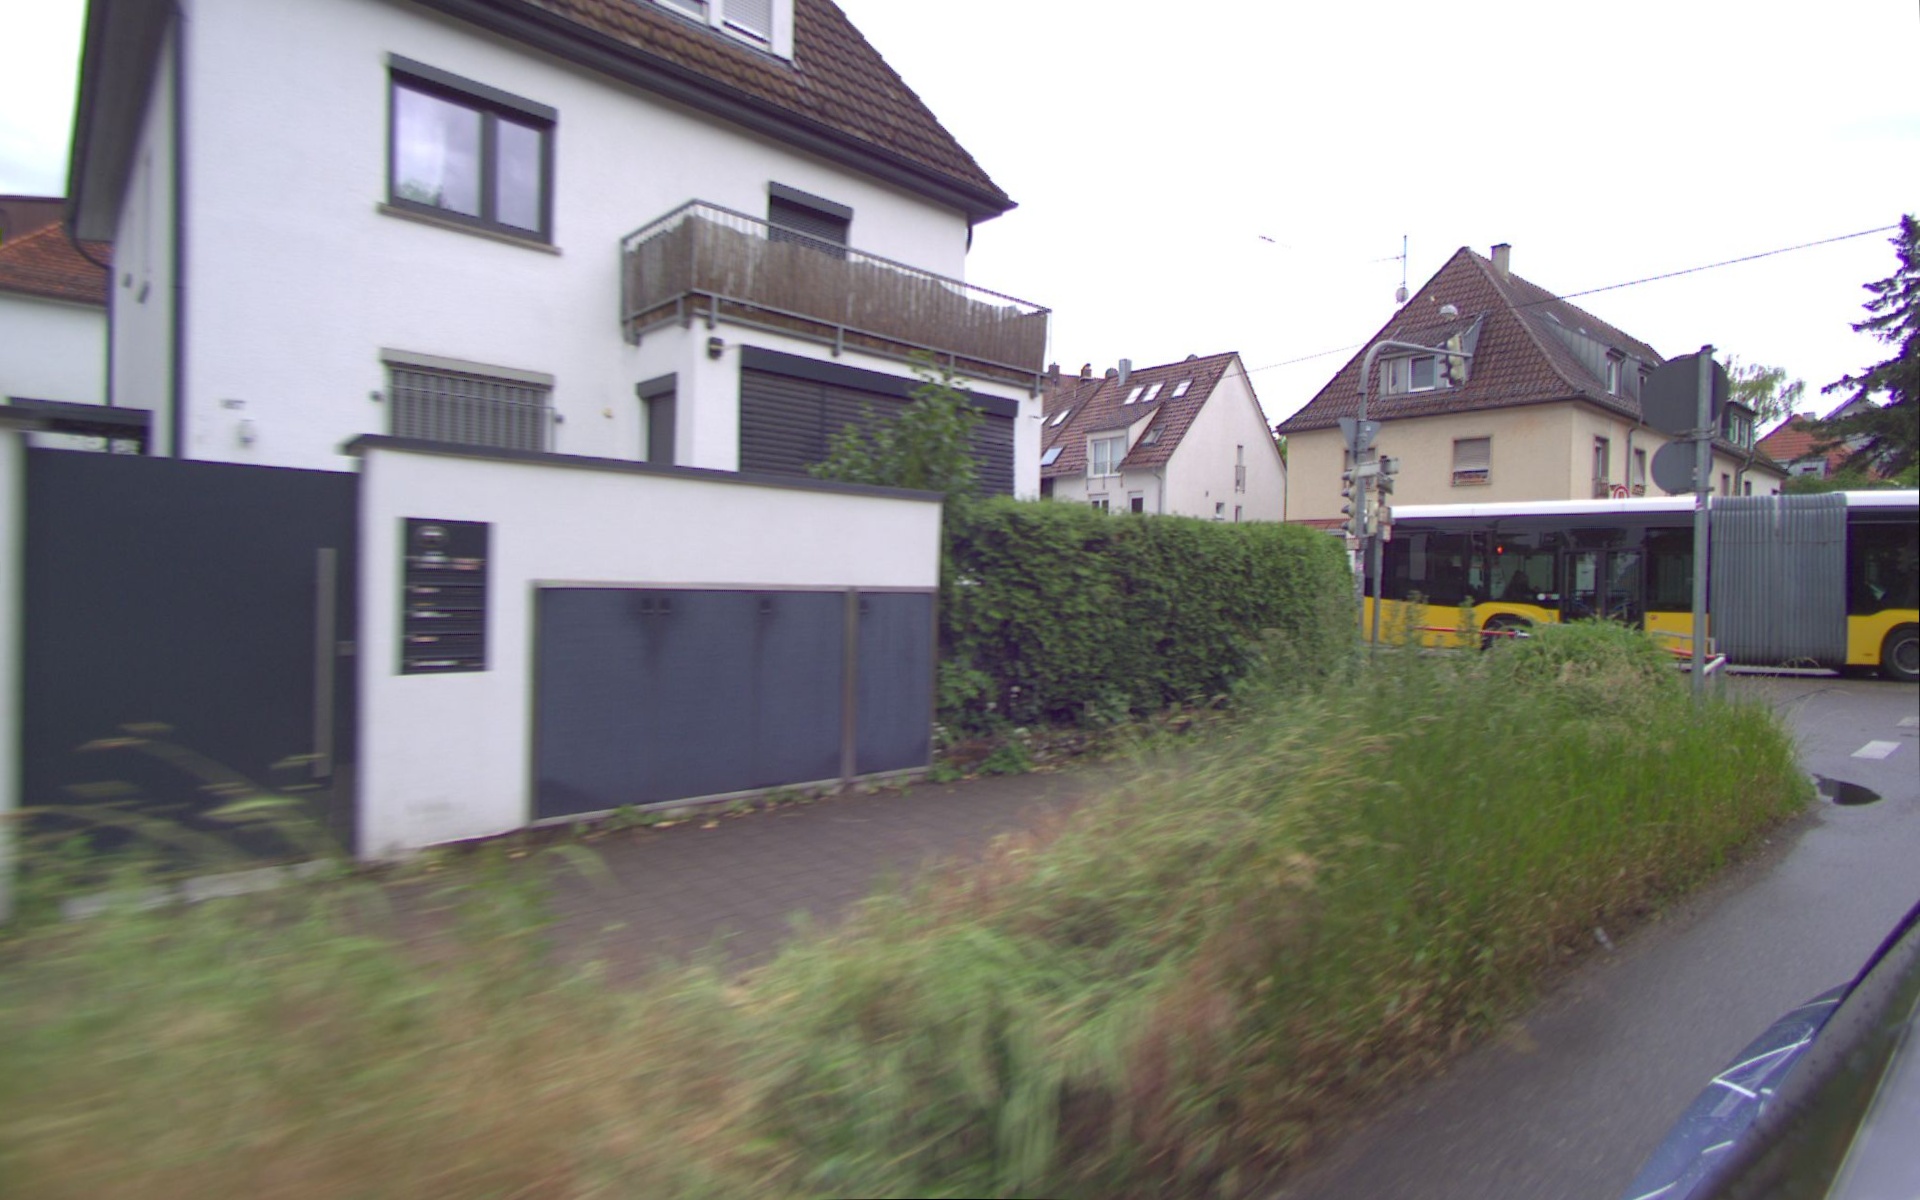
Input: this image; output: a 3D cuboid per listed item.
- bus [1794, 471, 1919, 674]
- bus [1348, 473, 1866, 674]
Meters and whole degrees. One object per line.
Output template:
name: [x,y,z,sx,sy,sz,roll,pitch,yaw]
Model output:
bus: [20.295,-0.419,17.191,8.930,3.441,2.889,1,0,21]
bus: [12.883,-0.520,21.042,8.633,3.441,2.649,1,0,38]
